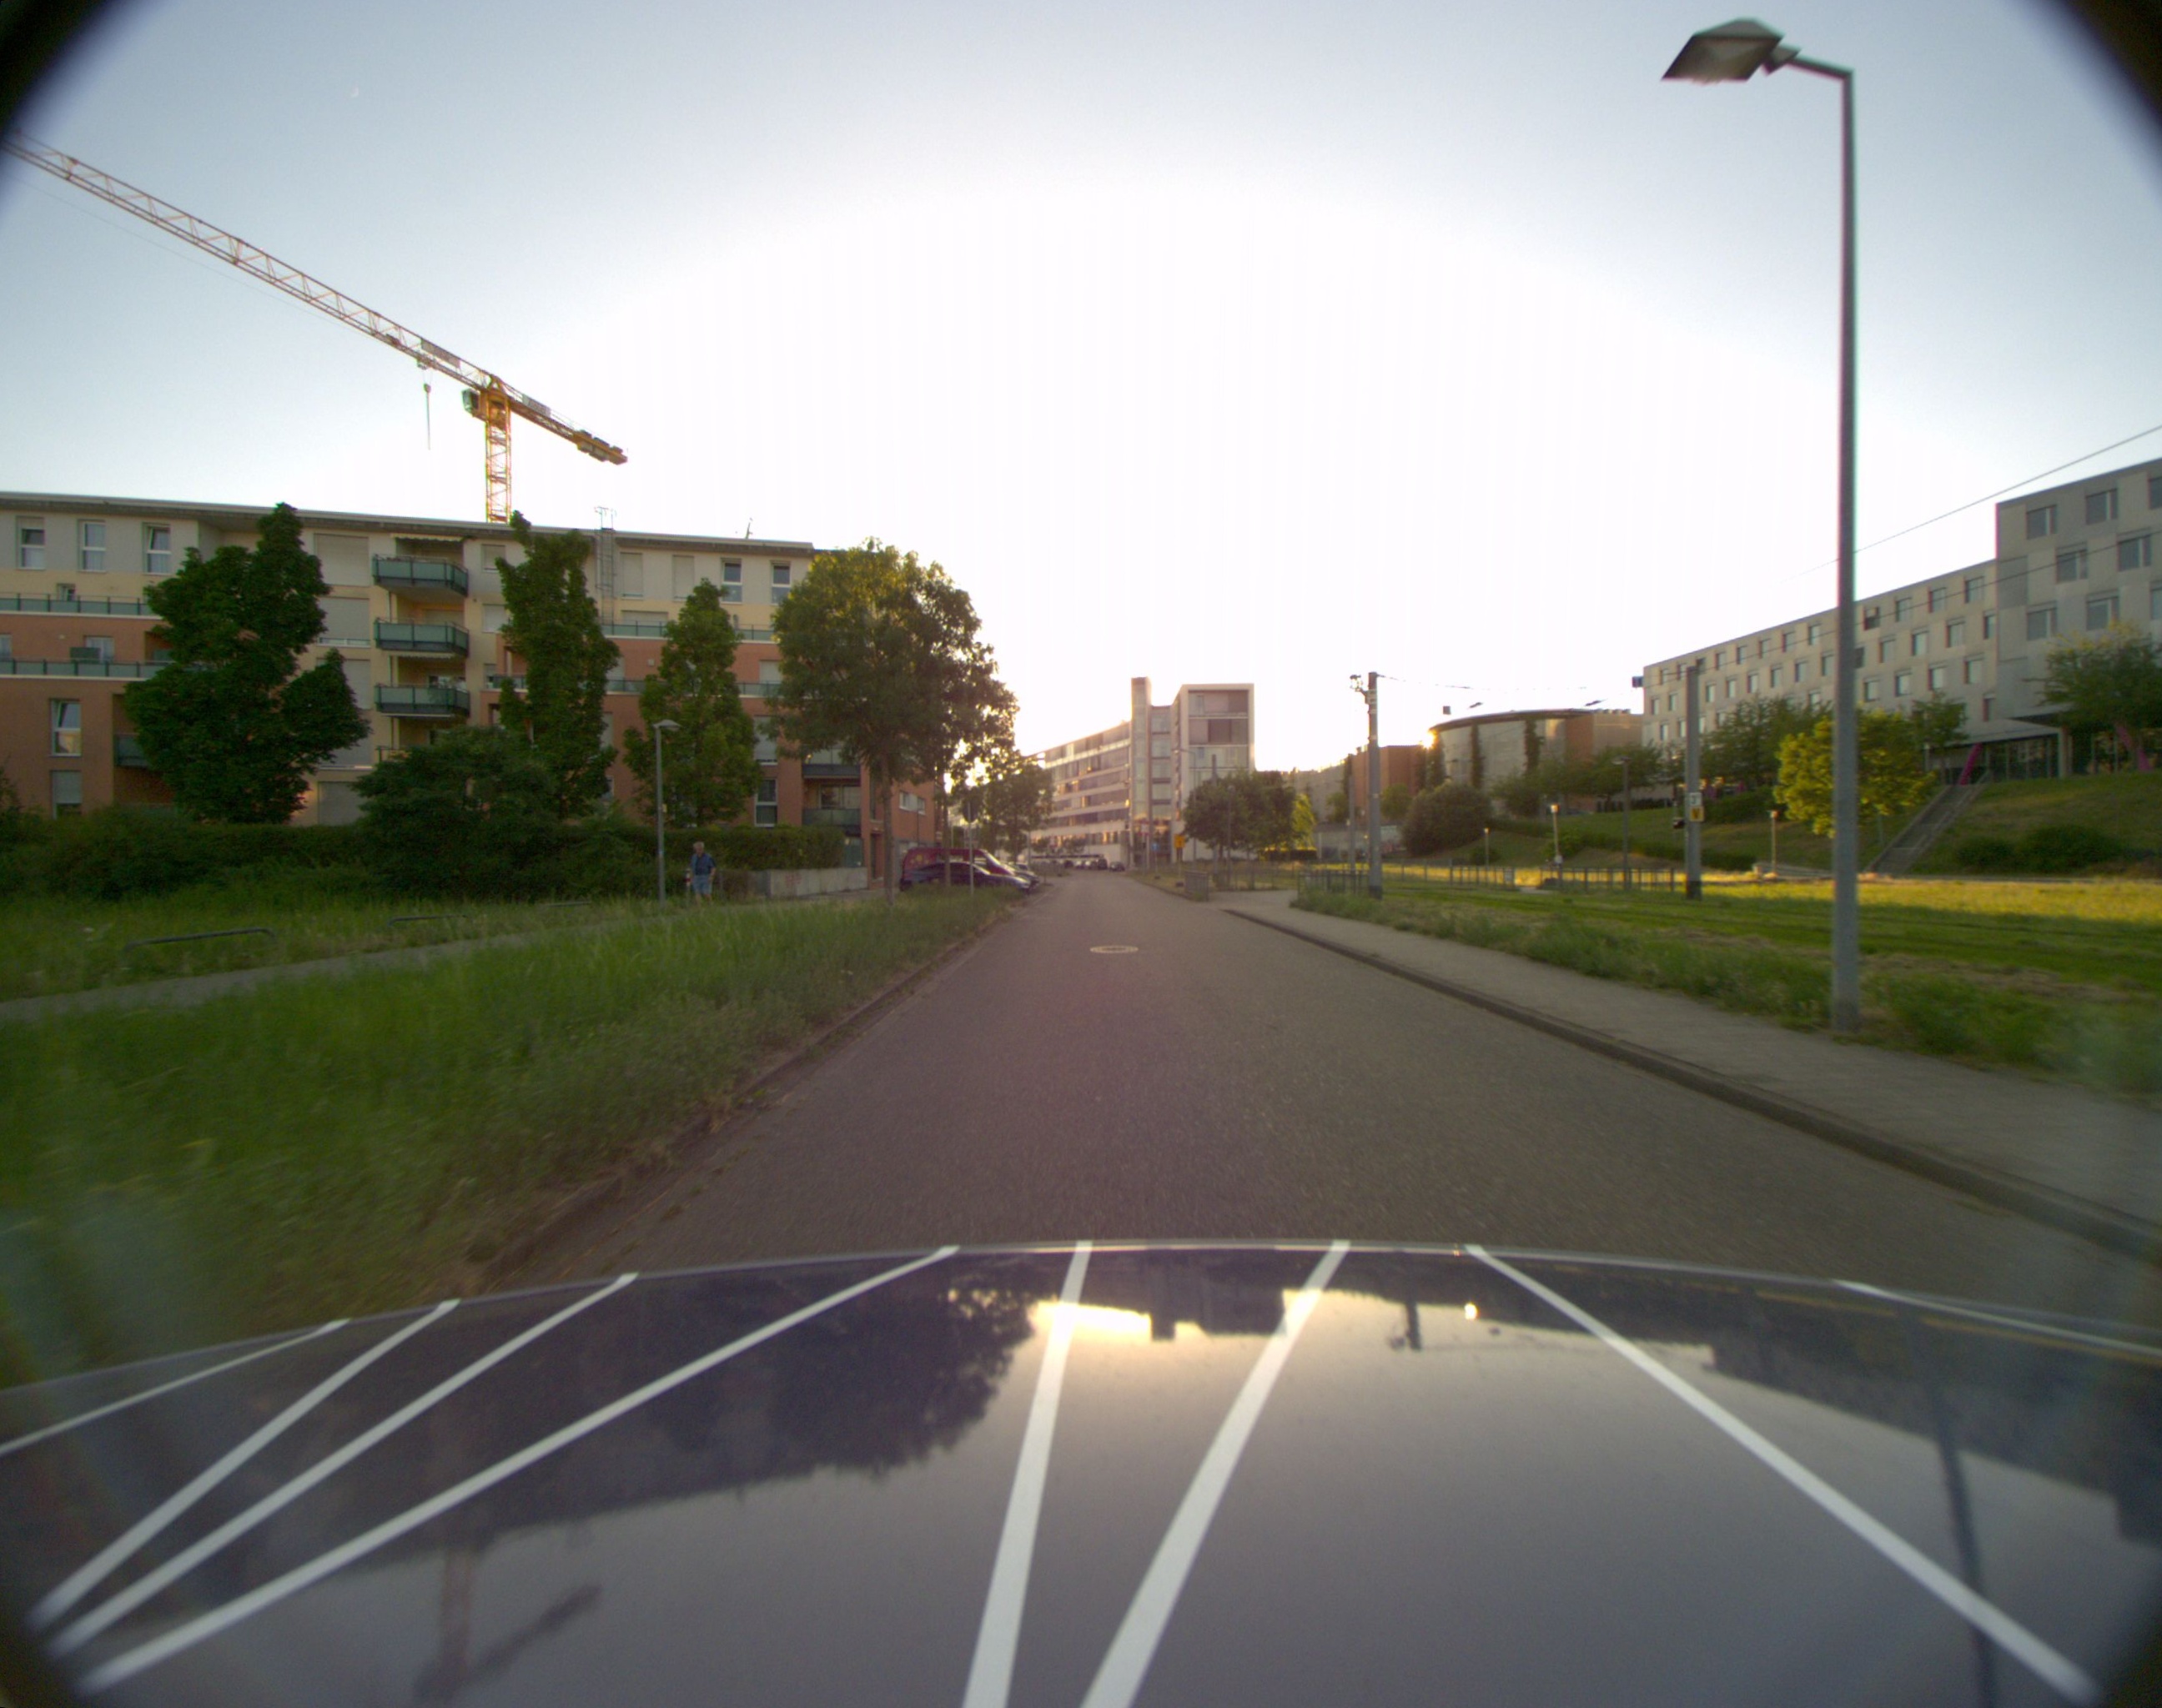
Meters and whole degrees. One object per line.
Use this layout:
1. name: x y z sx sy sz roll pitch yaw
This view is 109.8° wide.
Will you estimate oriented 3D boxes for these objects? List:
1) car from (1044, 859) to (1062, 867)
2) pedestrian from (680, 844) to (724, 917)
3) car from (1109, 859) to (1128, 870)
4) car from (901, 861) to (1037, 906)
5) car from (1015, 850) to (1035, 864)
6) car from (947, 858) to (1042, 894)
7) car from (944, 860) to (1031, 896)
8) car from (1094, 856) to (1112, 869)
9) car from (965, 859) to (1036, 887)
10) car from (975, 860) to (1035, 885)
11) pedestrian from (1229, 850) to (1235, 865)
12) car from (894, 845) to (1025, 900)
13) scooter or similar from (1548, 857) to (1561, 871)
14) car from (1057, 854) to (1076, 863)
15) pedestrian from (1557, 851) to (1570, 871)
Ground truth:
1. car: -5.249 1.688 143.571 1.800 1.542 3.991 -3 1 -27
2. pedestrian: -9.149 0.631 18.364 0.670 1.733 0.699 -1 0 0
3. car: 5.348 1.496 108.720 1.858 1.433 4.225 -3 0 -9
4. car: -4.041 1.050 27.966 4.681 1.547 1.811 -1 0 0
5. car: -11.507 0.696 156.588 2.008 2.858 6.243 0 -1 -24
6. car: -3.988 1.007 35.587 4.226 1.559 1.792 1 0 1
7. car: -3.981 1.009 32.802 3.534 1.456 1.615 1 0 1
8. car: 3.460 1.333 120.090 1.895 1.961 4.514 -3 0 -10
9. car: -4.808 1.134 45.836 4.060 1.559 1.673 1 0 1
10. car: -4.810 1.180 48.366 3.760 1.465 1.612 -1 0 -4
11. pedestrian: 19.184 0.444 96.314 0.450 1.826 0.483 -3 1 -20
12. car: -4.833 0.724 30.740 4.931 2.104 2.017 -1 0 2
13. scooter or similar: 43.445 0.906 69.735 0.618 1.236 0.790 -3 0 -1
14. car: -2.702 0.834 137.622 1.800 1.676 3.991 -1 0 -28
15. pedestrian: 43.694 0.635 68.842 0.618 1.826 0.790 -3 0 -1
